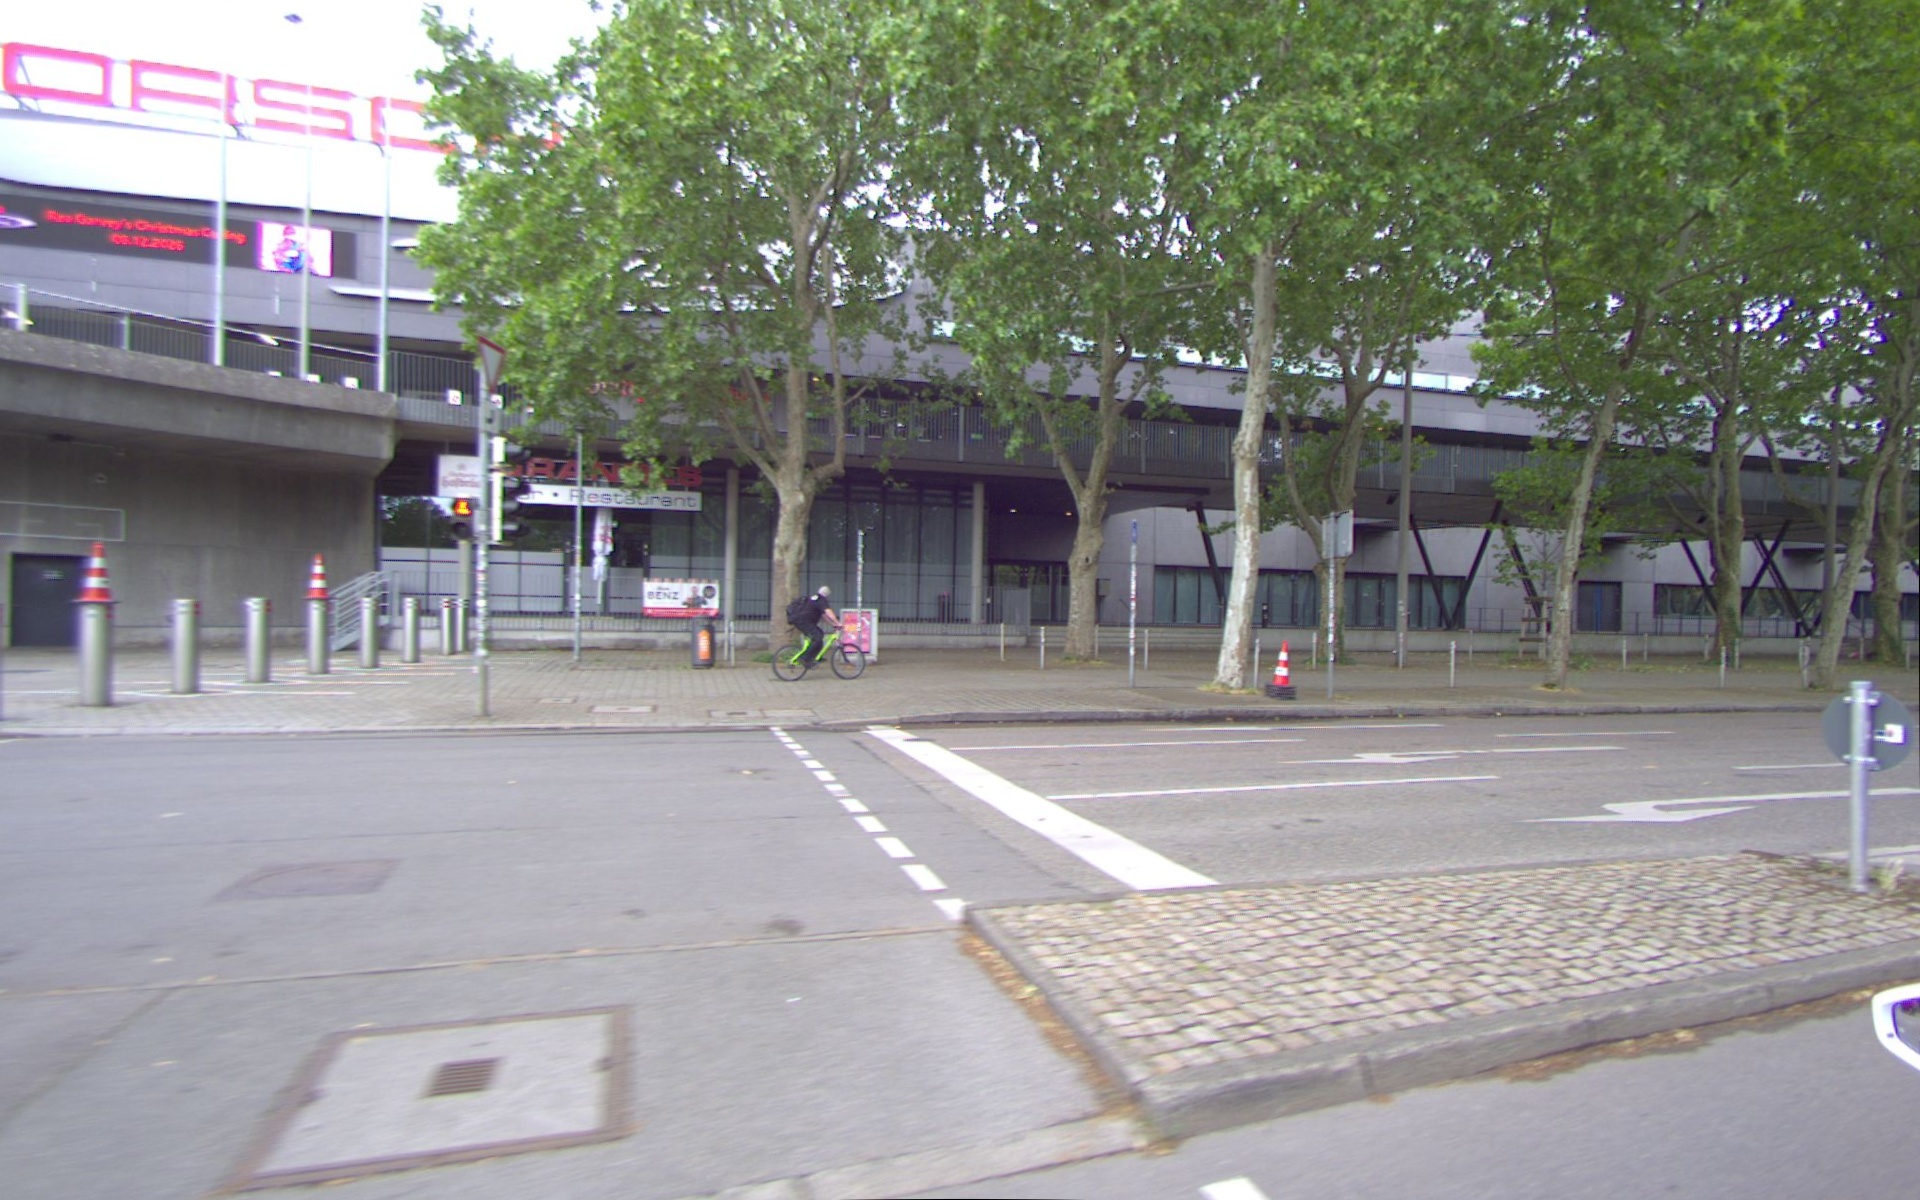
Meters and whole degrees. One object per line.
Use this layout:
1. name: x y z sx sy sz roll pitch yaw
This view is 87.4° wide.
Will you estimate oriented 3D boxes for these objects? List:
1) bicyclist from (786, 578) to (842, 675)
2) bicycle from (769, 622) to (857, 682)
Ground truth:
1. bicyclist: -2.697 0.494 18.511 0.841 1.720 0.764 3 -2 -18
2. bicycle: -2.708 0.959 18.495 1.514 1.026 0.515 3 -2 -19
